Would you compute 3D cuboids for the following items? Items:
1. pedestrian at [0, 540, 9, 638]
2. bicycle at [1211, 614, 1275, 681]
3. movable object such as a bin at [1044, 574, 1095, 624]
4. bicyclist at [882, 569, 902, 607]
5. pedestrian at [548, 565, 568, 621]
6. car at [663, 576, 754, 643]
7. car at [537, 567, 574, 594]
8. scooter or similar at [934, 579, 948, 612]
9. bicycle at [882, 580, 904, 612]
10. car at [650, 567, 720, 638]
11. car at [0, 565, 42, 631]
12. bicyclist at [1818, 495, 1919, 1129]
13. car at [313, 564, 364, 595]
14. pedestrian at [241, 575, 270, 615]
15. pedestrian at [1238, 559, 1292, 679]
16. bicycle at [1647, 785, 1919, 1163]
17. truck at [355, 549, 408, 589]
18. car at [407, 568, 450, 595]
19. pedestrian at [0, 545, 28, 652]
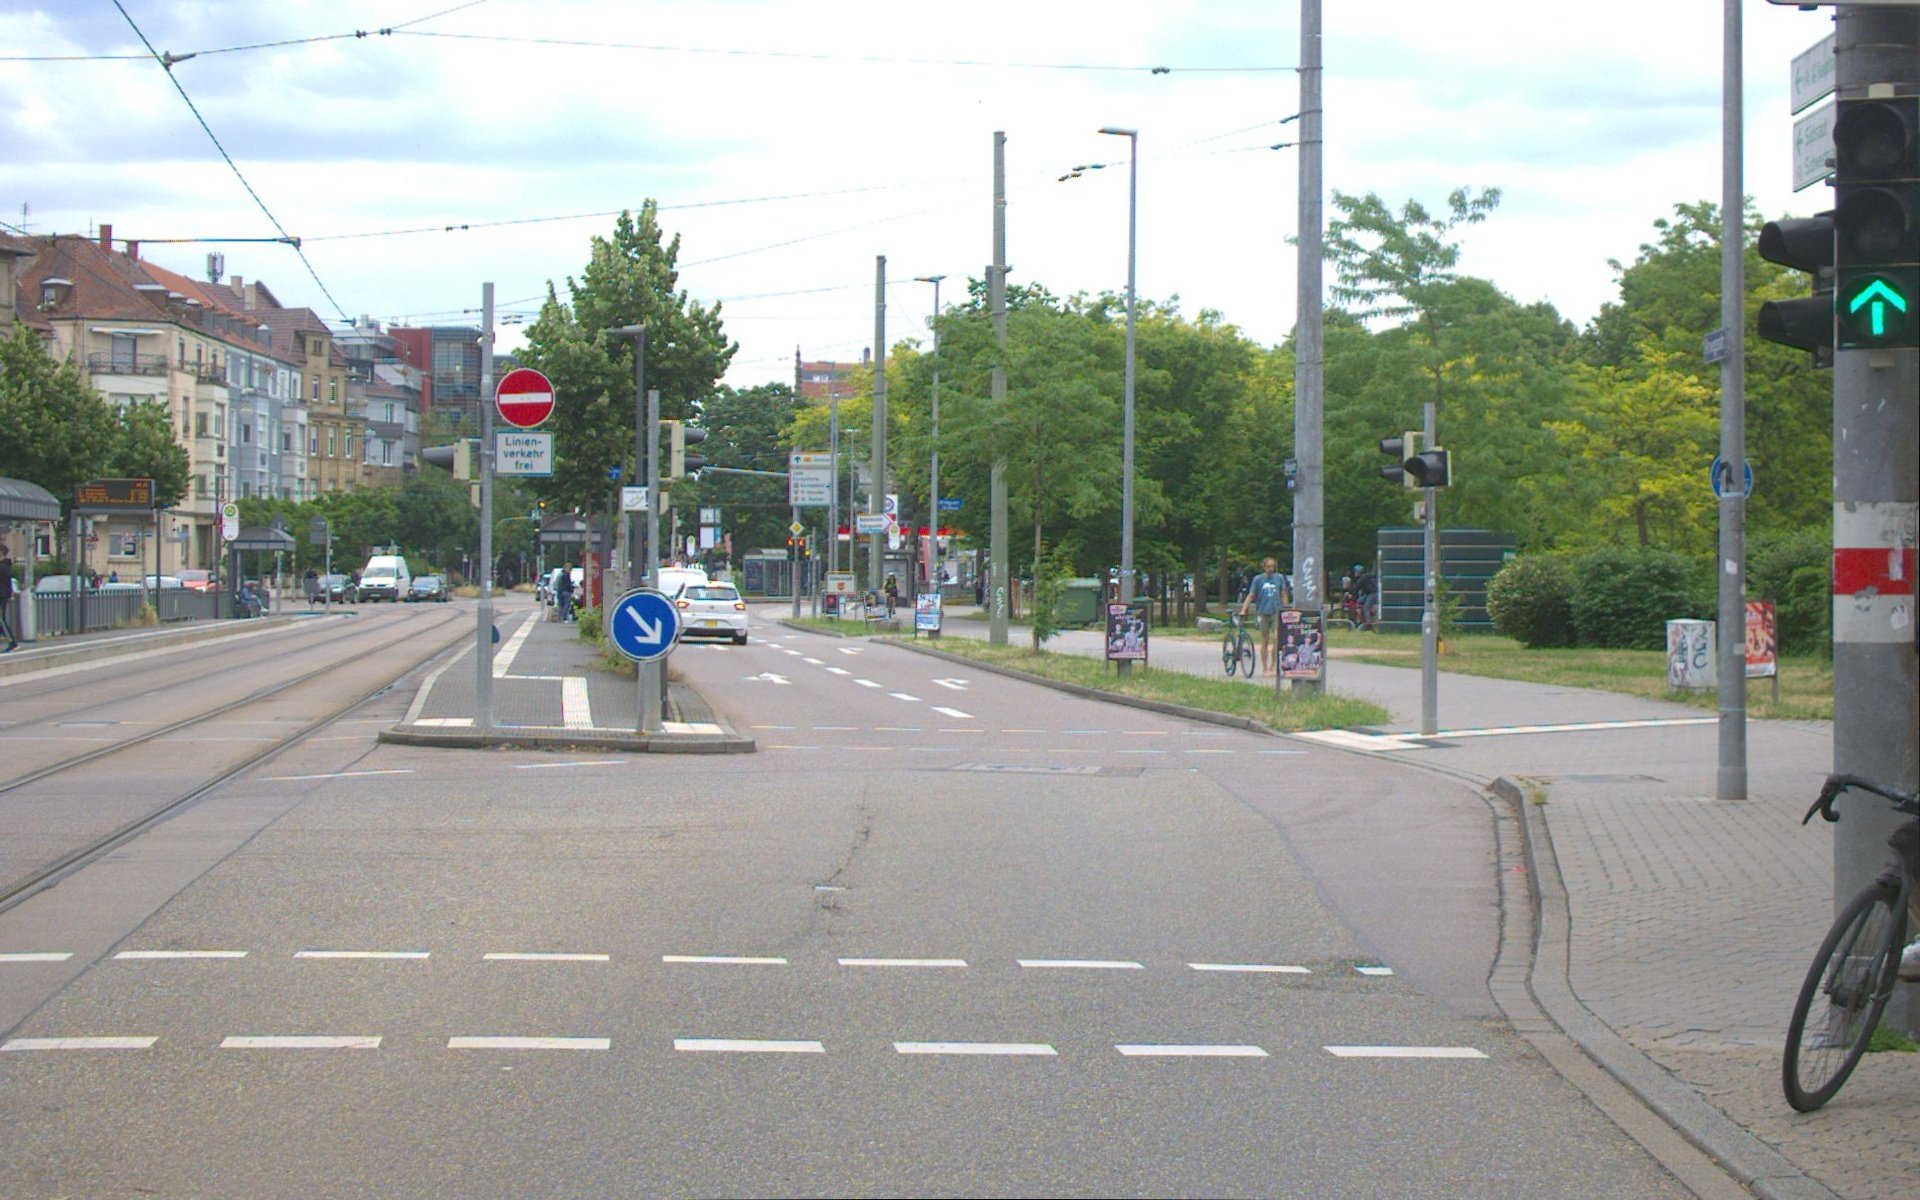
[{"bbox_3d":[-16.681,-0.185,58.634,0.768,1.654,1.025,0,0,-9],"label":"pedestrian"},{"bbox_3d":[4.404,0.739,53.575,0.654,0.999,1.779,0,0,-6],"label":"bicycle"},{"bbox_3d":[3.057,-0.028,95.868,1.282,1.385,1.159,1,0,-5],"label":"movable object such as a bin"},{"bbox_3d":[-2.483,-0.449,126.293,0.679,1.375,0.727,0,0,-5],"label":"bicyclist"},{"bbox_3d":[-11.211,-0.204,95.858,0.532,1.552,0.571,0,0,-3],"label":"pedestrian"},{"bbox_3d":[-5.815,0.205,79.185,1.782,1.467,4.011,1,1,-8],"label":"car"},{"bbox_3d":[-22.735,-1.101,193.238,1.770,1.488,3.887,1,0,-3],"label":"car"},{"bbox_3d":[-0.666,-0.165,121.849,0.376,1.137,1.199,0,0,4],"label":"scooter or similar"},{"bbox_3d":[-2.470,-0.163,126.288,0.679,1.151,1.898,0,1,-5],"label":"bicycle"},{"bbox_3d":[-7.851,0.048,98.020,1.782,1.956,4.383,1,1,-7],"label":"car"},{"bbox_3d":[-22.439,-0.050,79.473,1.770,1.488,3.887,1,0,-6],"label":"car"},{"bbox_3d":[3.049,0.604,9.834,0.680,1.789,0.891,1,0,-38],"label":"bicyclist"},{"bbox_3d":[-29.942,-0.985,165.757,1.770,1.488,3.887,1,0,0],"label":"car"},{"bbox_3d":[-22.802,-0.164,111.254,0.864,1.262,0.694,0,1,-8],"label":"pedestrian"},{"bbox_3d":[4.753,0.289,53.575,0.739,1.863,0.682,0,0,-4],"label":"pedestrian"},{"bbox_3d":[2.926,1.030,9.984,1.862,0.921,0.796,1,1,-38],"label":"bicycle"},{"bbox_3d":[-29.877,-1.575,177.656,1.788,2.026,5.396,1,0,0],"label":"truck"},{"bbox_3d":[-29.464,-1.009,190.749,1.770,1.488,3.887,1,0,0],"label":"car"},{"bbox_3d":[-15.338,-0.026,55.216,0.699,1.709,0.699,0,0,-15],"label":"pedestrian"}]
